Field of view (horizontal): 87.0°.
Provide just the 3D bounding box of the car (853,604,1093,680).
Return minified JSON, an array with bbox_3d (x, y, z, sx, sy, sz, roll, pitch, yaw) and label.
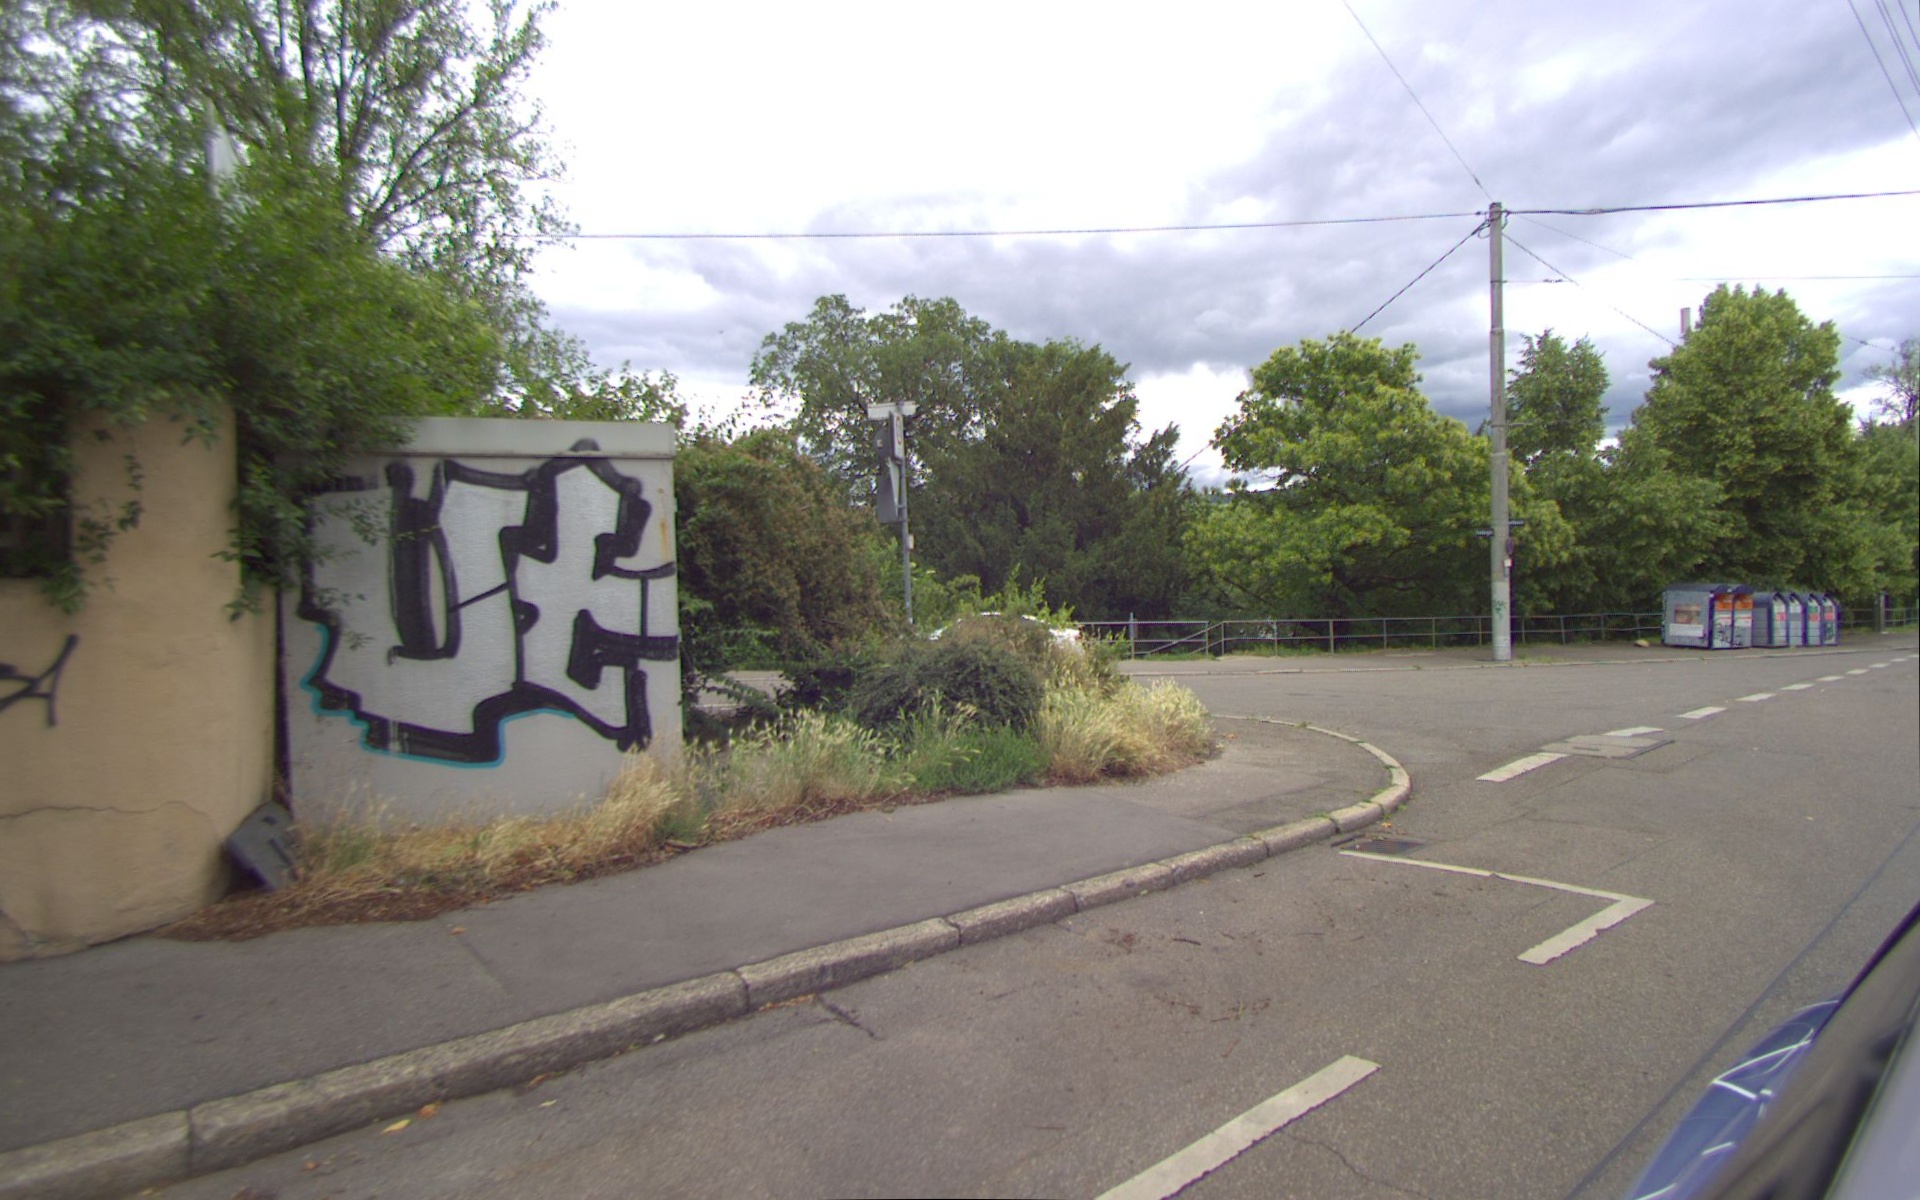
[{"bbox_3d":[0.208,0.821,20.488,4.504,1.399,1.903,0,-2,-13],"label":"car"}]
